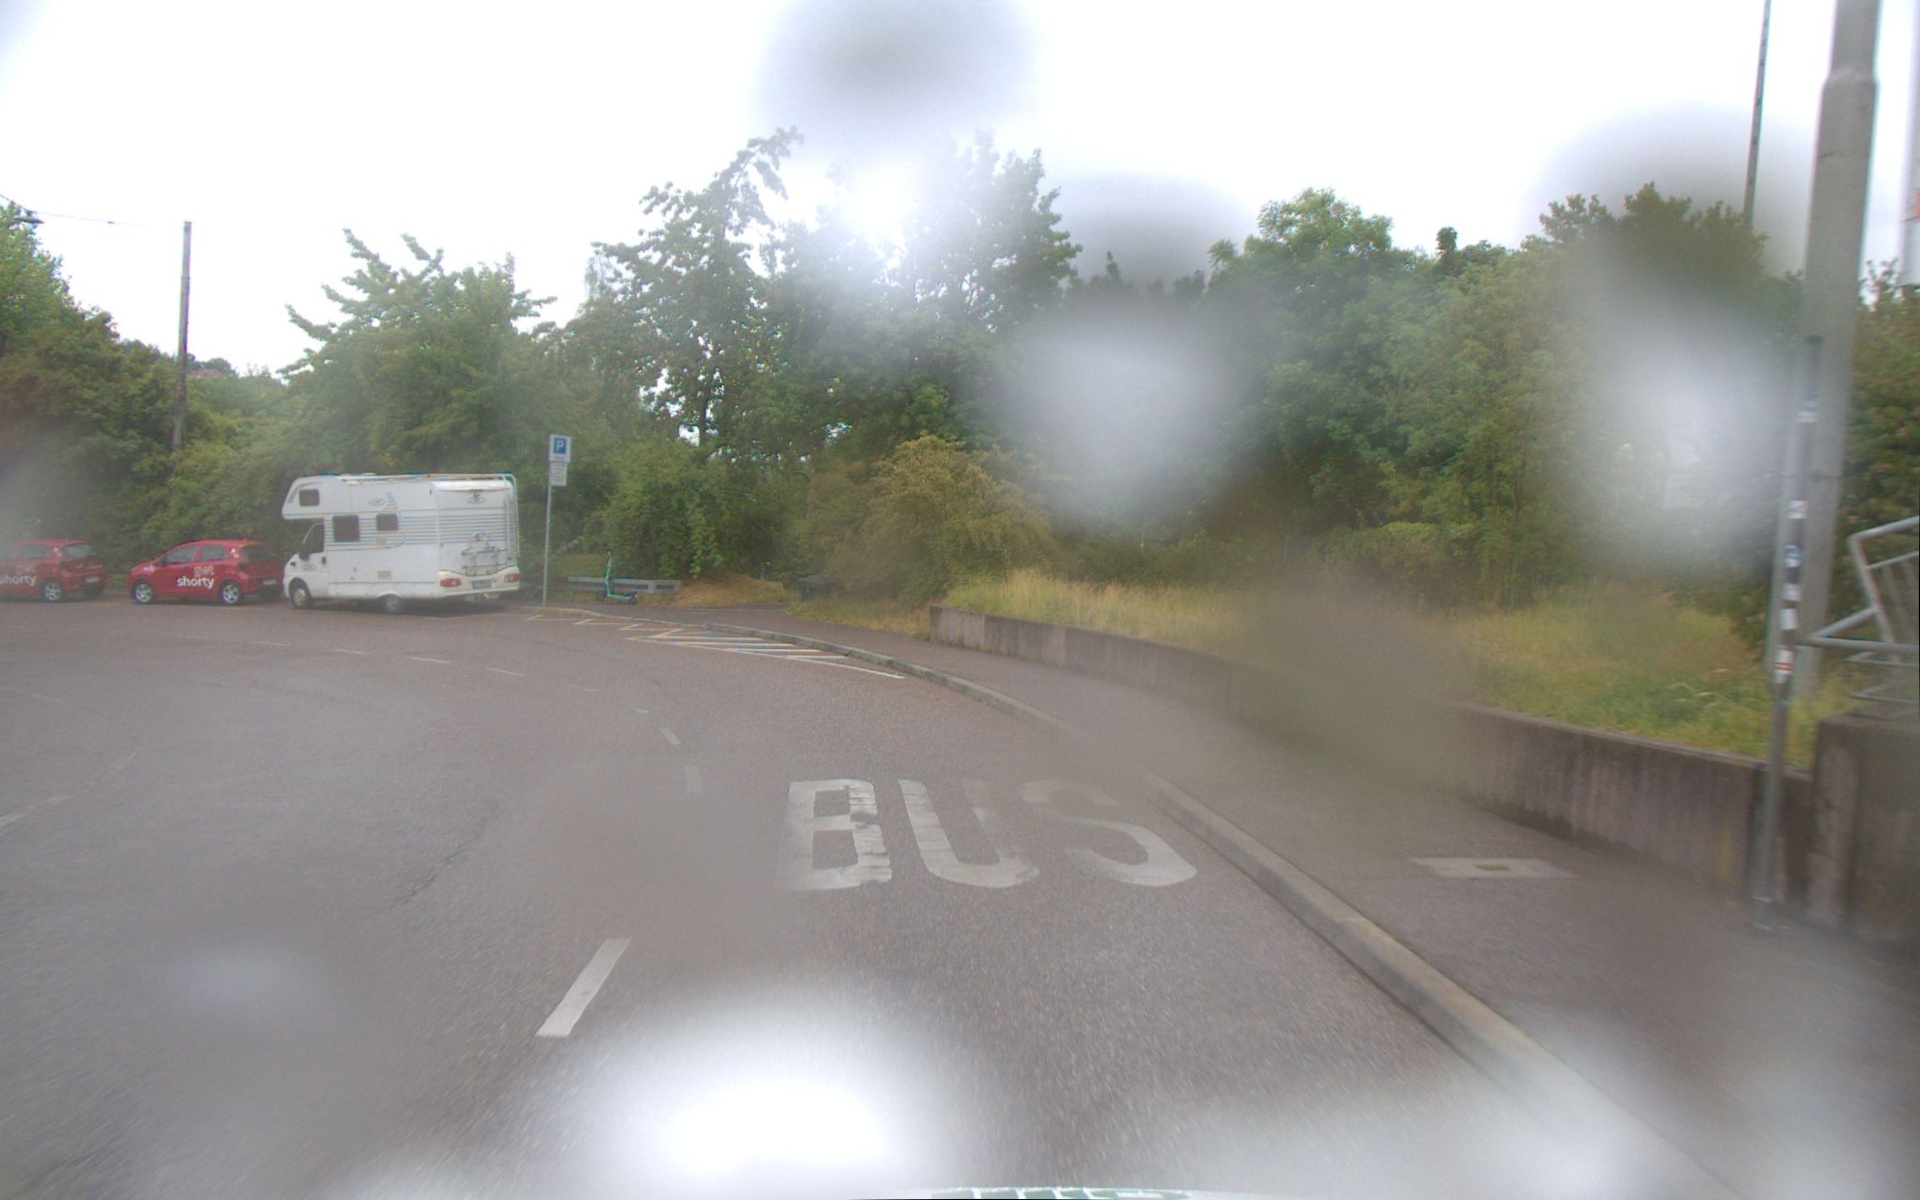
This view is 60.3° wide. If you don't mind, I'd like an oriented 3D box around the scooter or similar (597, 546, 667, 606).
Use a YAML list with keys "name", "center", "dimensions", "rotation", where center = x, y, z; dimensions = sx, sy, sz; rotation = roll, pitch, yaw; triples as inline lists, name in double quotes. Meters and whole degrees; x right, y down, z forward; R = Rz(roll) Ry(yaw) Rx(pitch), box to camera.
- name: "scooter or similar"
  center: [-7.333, -0.543, 36.969]
  dimensions: [1.673, 1.304, 0.451]
  rotation: [1, 3, 32]

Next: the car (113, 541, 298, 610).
- name: "car"
  center: [-18.119, -0.610, 39.761]
  dimensions: [3.713, 1.485, 1.649]
  rotation: [0, 6, 12]

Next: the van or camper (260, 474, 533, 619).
- name: "van or camper"
  center: [-12.785, -1.306, 37.418]
  dimensions: [6.147, 2.993, 2.393]
  rotation: [2, 6, 31]

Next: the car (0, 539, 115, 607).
- name: "car"
  center: [-23.031, -0.689, 40.792]
  dimensions: [3.586, 1.539, 1.566]
  rotation: [1, 5, 6]
